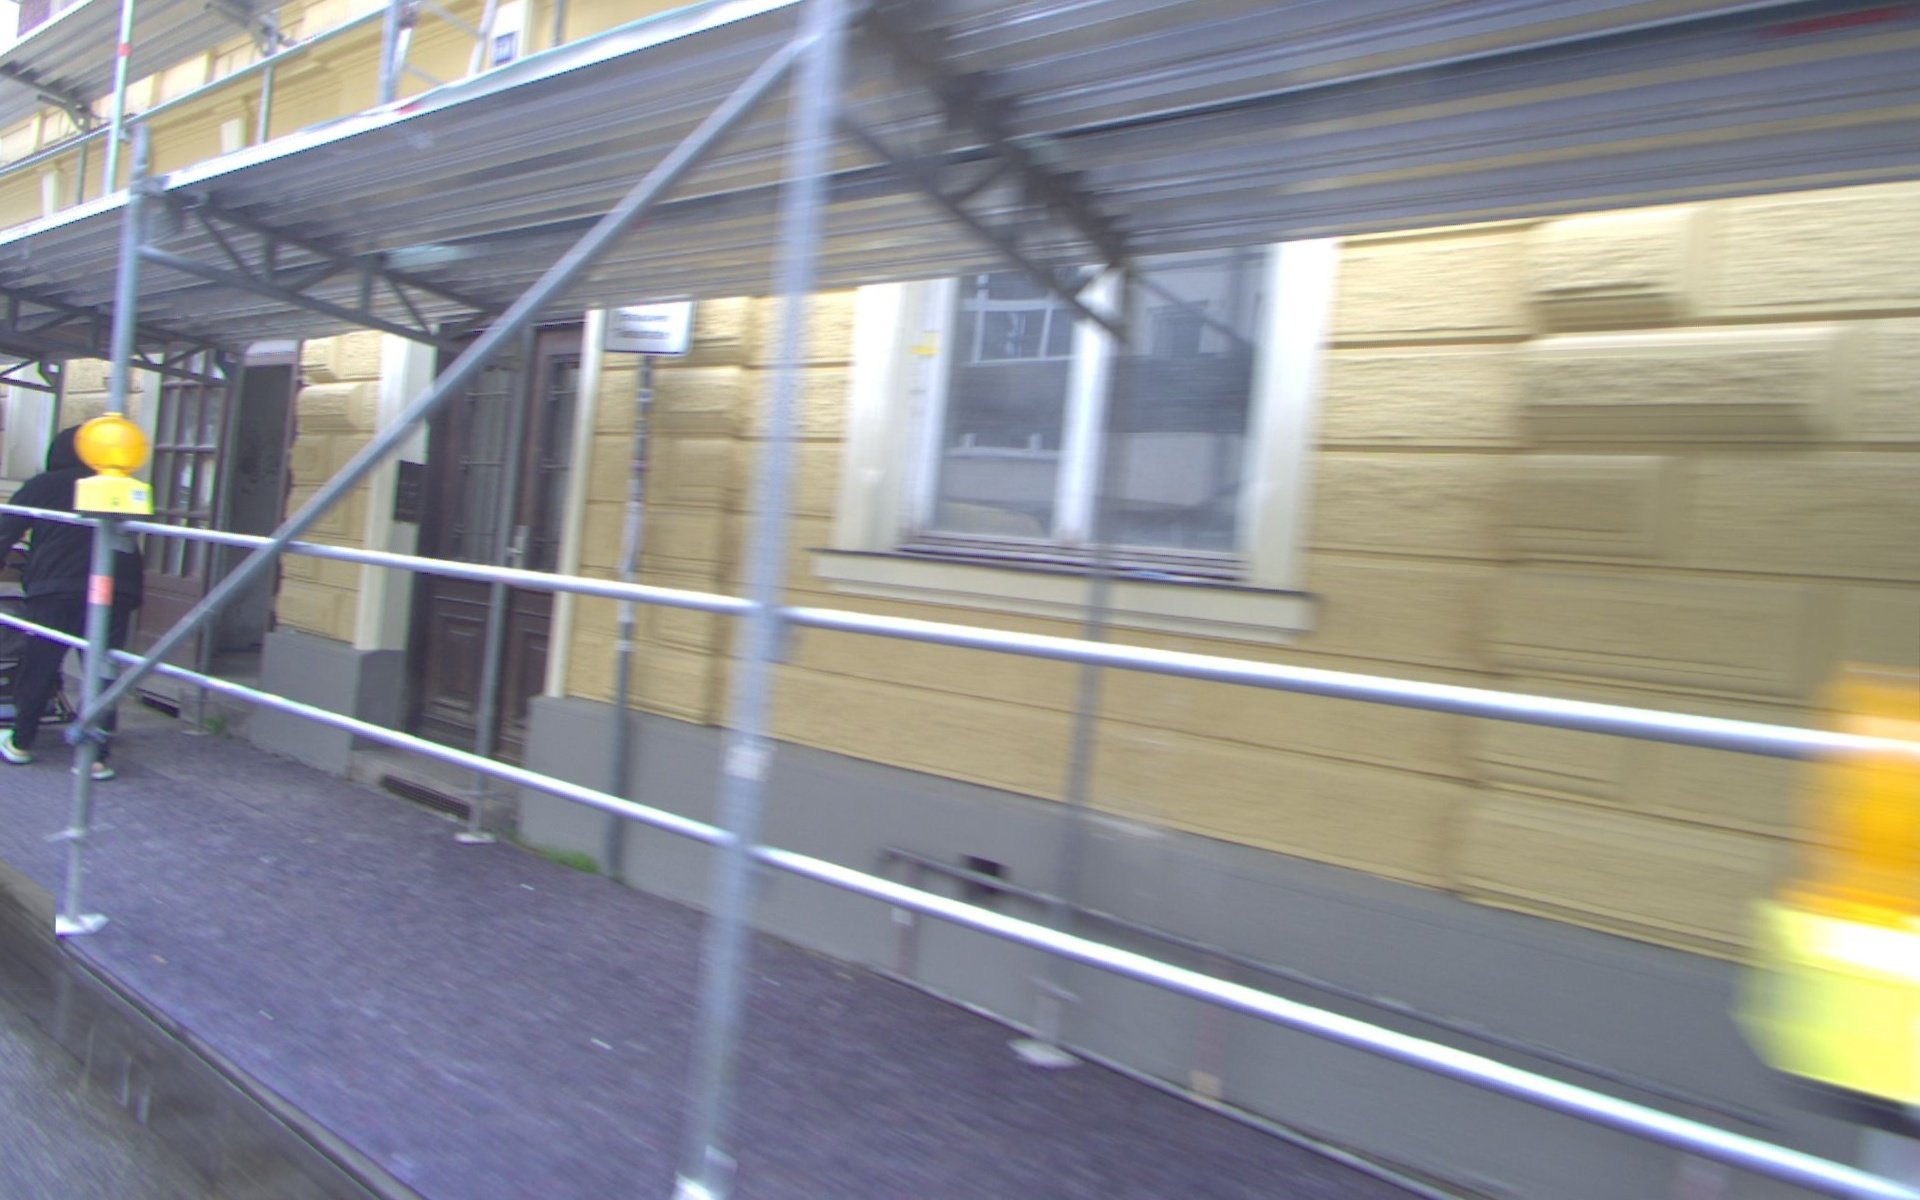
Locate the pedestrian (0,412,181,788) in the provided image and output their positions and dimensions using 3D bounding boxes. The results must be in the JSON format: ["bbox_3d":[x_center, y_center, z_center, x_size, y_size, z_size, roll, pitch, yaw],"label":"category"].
[{"bbox_3d":[-4.748,-0.032,5.271,0.972,1.777,0.729,7,4,31],"label":"pedestrian"}]

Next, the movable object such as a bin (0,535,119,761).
[{"bbox_3d":[-5.398,0.236,5.676,0.972,1.157,0.729,6,5,31],"label":"movable object such as a bin"}]
